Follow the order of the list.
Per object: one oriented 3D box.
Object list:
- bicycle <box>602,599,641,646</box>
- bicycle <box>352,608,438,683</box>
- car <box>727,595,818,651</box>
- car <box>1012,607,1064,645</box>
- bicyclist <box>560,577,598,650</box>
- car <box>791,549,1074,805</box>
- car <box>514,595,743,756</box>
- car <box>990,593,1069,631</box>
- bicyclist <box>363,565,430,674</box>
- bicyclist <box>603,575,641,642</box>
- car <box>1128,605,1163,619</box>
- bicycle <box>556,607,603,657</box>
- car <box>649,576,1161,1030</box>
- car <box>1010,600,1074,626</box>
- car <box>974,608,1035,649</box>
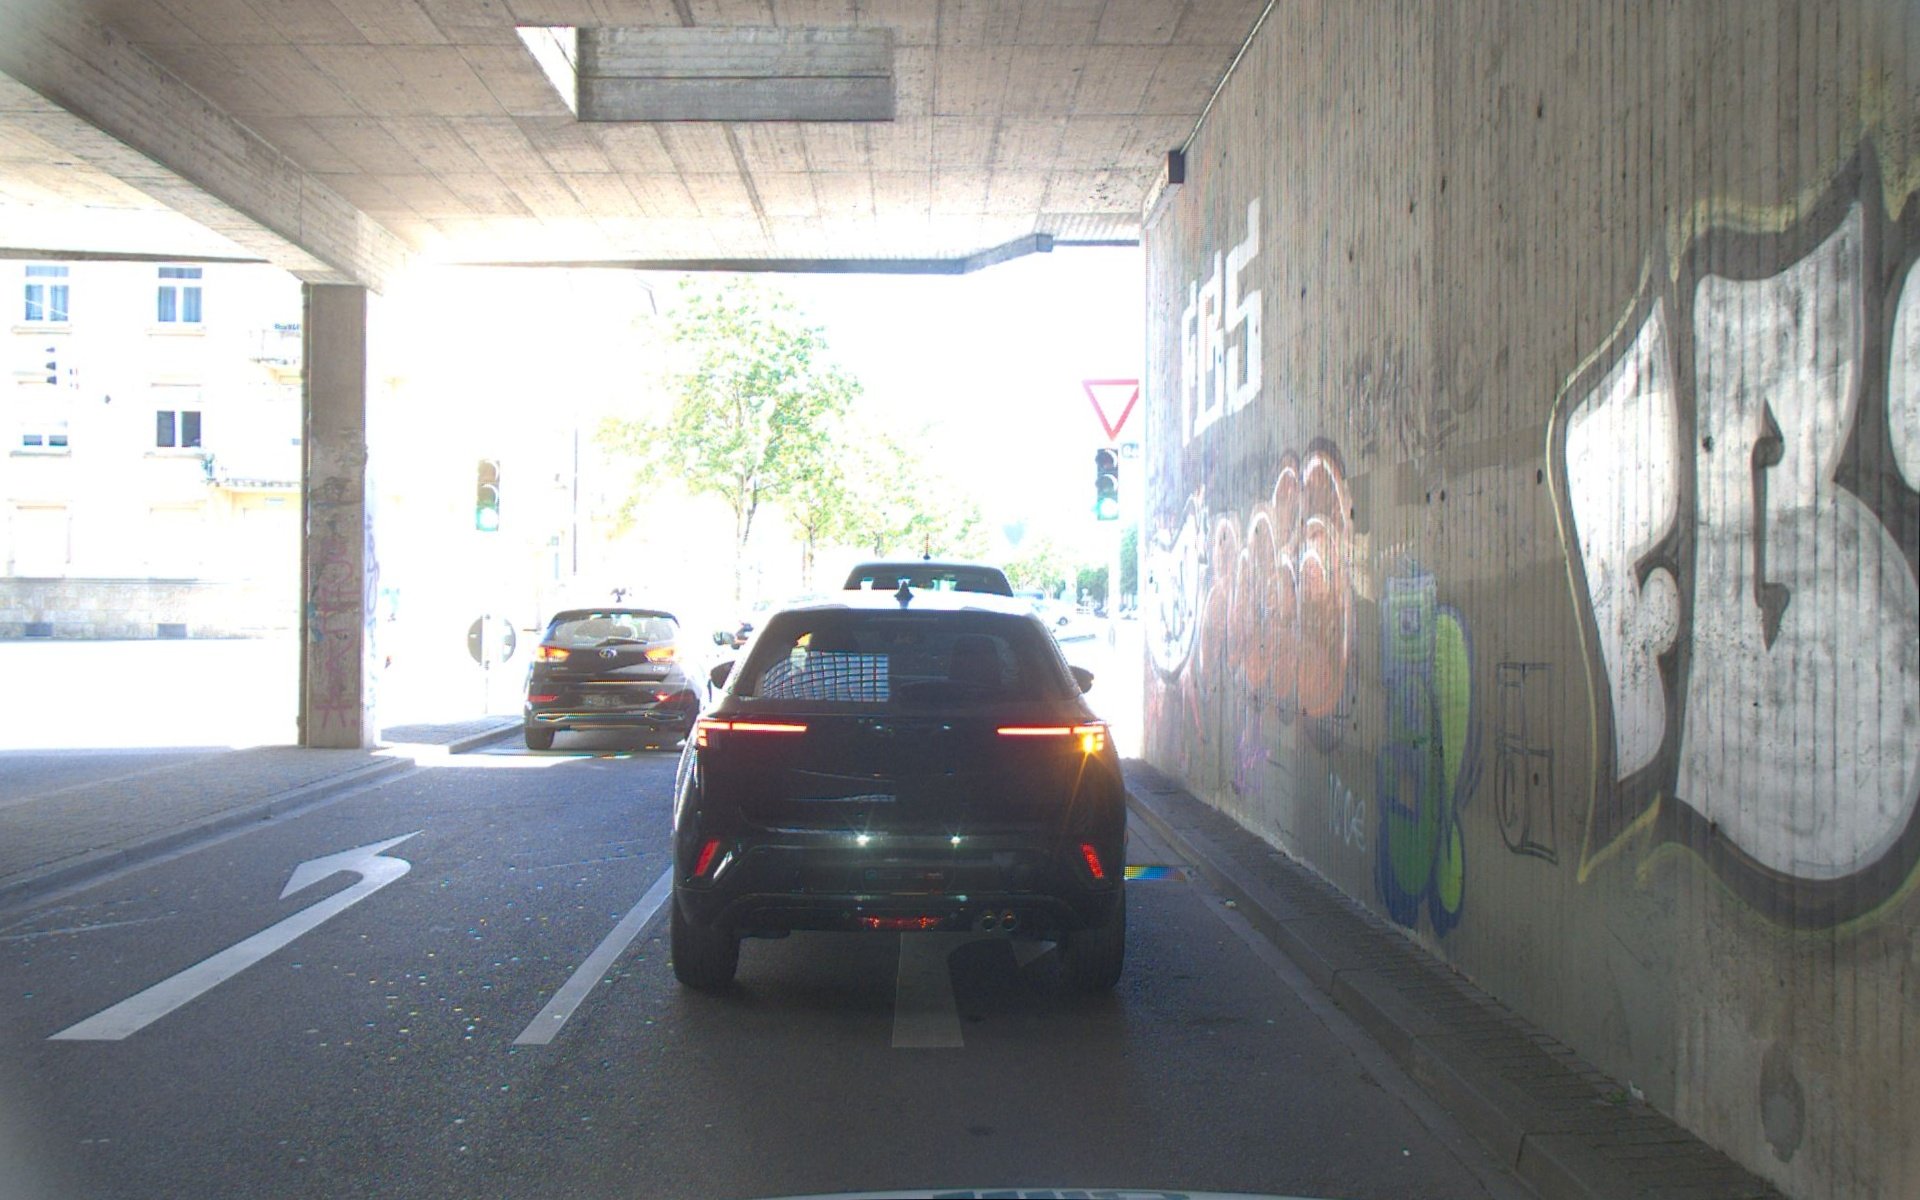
[{"bbox_3d":[-8.576,0.564,41.933,0.530,1.142,2.059,0,0,1],"label":"bicycle"},{"bbox_3d":[-9.231,0.718,27.090,0.683,1.109,1.861,0,2,2],"label":"bicycle"},{"bbox_3d":[-5.127,0.604,45.611,1.622,1.466,3.466,0,0,9],"label":"car"},{"bbox_3d":[3.405,1.088,71.771,1.668,1.539,3.866,-2,0,11],"label":"car"},{"bbox_3d":[-8.777,0.314,38.122,0.593,1.661,0.910,0,0,4],"label":"bicyclist"},{"bbox_3d":[-0.408,0.558,14.647,2.091,1.867,4.935,0,0,-5],"label":"car"},{"bbox_3d":[-3.349,0.690,17.475,1.765,1.476,4.323,0,0,-3],"label":"car"},{"bbox_3d":[4.842,0.853,115.661,5.175,2.590,1.977,0,-1,-16],"label":"car"},{"bbox_3d":[-9.224,0.305,27.114,0.730,1.741,0.967,0,2,2],"label":"bicyclist"},{"bbox_3d":[-8.553,0.210,41.875,0.766,1.689,1.031,0,0,0],"label":"bicyclist"},{"bbox_3d":[21.634,1.431,192.511,3.866,1.421,1.516,-2,-1,1],"label":"car"},{"bbox_3d":[-8.735,0.714,38.010,0.514,1.109,1.861,0,0,4],"label":"bicycle"},{"bbox_3d":[-0.211,0.700,7.576,1.745,1.544,3.755,1,0,-1],"label":"car"},{"bbox_3d":[6.617,1.038,133.272,4.822,2.119,1.970,0,-1,-26],"label":"car"},{"bbox_3d":[1.725,1.055,62.766,1.671,1.477,3.854,0,0,11],"label":"car"}]
